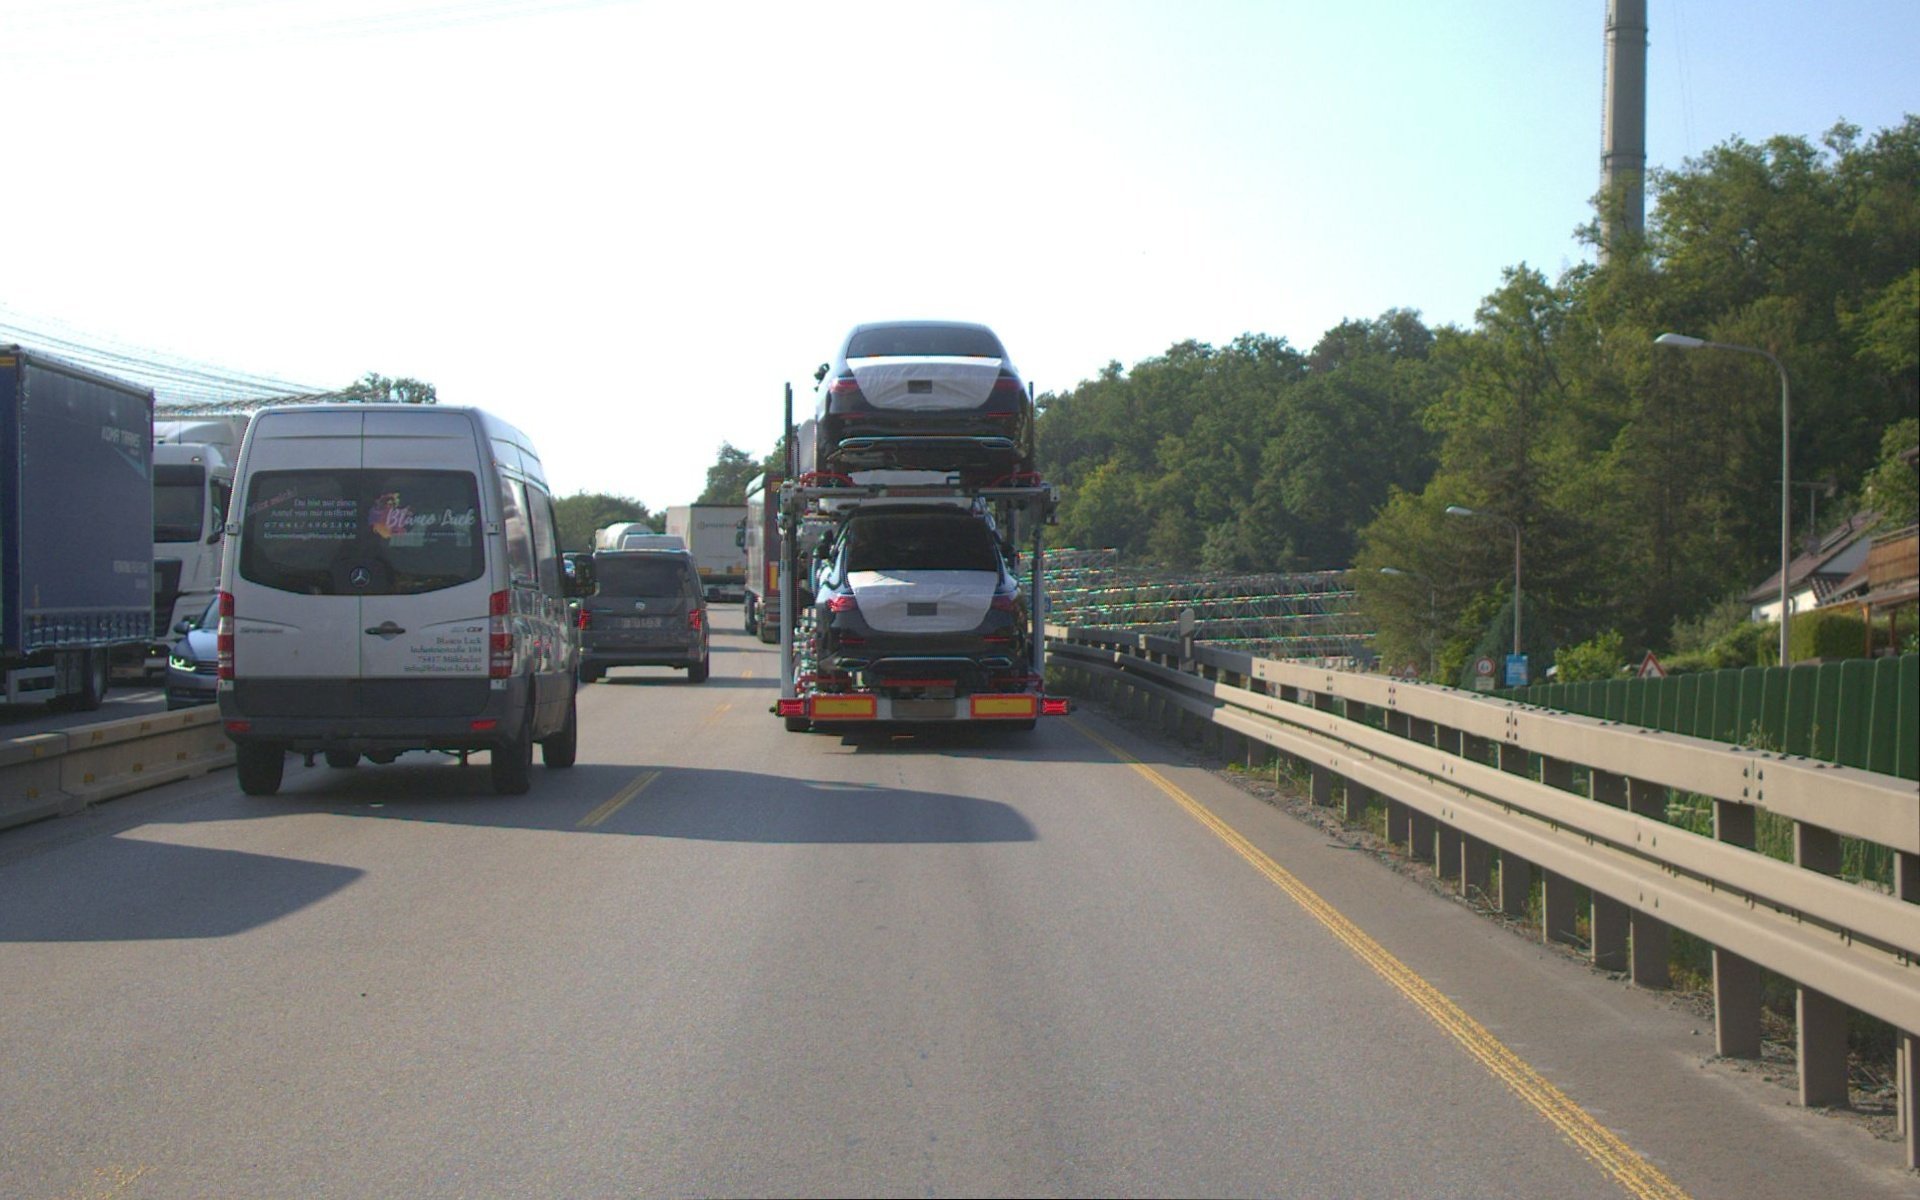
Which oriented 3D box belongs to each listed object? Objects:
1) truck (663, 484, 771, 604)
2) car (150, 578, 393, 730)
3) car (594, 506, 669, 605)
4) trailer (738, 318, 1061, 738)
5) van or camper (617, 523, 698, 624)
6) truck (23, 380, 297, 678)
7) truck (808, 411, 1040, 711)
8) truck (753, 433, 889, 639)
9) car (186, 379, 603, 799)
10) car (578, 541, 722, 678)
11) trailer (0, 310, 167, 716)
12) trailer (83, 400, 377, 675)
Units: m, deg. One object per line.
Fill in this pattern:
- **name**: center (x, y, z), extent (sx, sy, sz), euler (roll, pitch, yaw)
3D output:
- **truck**: center (-10.256, -2.281, 143.917), extent (4.064, 4.663, 10.593), euler (2, 0, -6)
- **car**: center (-7.569, 0.596, 38.197), extent (1.772, 1.532, 4.402), euler (2, -1, 0)
- **car**: center (-17.728, -2.382, 186.150), extent (3.444, 5.018, 9.654), euler (3, 0, -4)
- **trailer**: center (-0.438, -0.530, 36.926), extent (2.682, 3.523, 15.287), euler (1, -1, 1)
- **van or camper**: center (-8.239, -0.687, 94.019), extent (1.968, 2.583, 5.042), euler (3, -1, -4)
- **truck**: center (-11.961, -0.976, 51.928), extent (2.709, 4.079, 6.204), euler (3, -1, -3)
- **truck**: center (-0.391, -0.428, 44.501), extent (2.682, 3.523, 7.193), euler (1, -1, 1)
- **truck**: center (-3.332, -1.461, 81.999), extent (2.907, 4.591, 7.286), euler (2, 0, -3)
- **car**: center (-3.943, -0.081, 24.984), extent (1.993, 2.639, 5.530), euler (2, 0, 0)
- **car**: center (-4.681, 0.171, 52.336), extent (1.808, 1.897, 4.000), euler (3, -1, -1)
- **trailer**: center (-11.254, -0.890, 39.404), extent (2.605, 4.098, 9.628), euler (-1, 0, -3)
- **trailer**: center (-12.306, -0.901, 59.227), extent (2.709, 4.079, 12.569), euler (3, -1, -3)
